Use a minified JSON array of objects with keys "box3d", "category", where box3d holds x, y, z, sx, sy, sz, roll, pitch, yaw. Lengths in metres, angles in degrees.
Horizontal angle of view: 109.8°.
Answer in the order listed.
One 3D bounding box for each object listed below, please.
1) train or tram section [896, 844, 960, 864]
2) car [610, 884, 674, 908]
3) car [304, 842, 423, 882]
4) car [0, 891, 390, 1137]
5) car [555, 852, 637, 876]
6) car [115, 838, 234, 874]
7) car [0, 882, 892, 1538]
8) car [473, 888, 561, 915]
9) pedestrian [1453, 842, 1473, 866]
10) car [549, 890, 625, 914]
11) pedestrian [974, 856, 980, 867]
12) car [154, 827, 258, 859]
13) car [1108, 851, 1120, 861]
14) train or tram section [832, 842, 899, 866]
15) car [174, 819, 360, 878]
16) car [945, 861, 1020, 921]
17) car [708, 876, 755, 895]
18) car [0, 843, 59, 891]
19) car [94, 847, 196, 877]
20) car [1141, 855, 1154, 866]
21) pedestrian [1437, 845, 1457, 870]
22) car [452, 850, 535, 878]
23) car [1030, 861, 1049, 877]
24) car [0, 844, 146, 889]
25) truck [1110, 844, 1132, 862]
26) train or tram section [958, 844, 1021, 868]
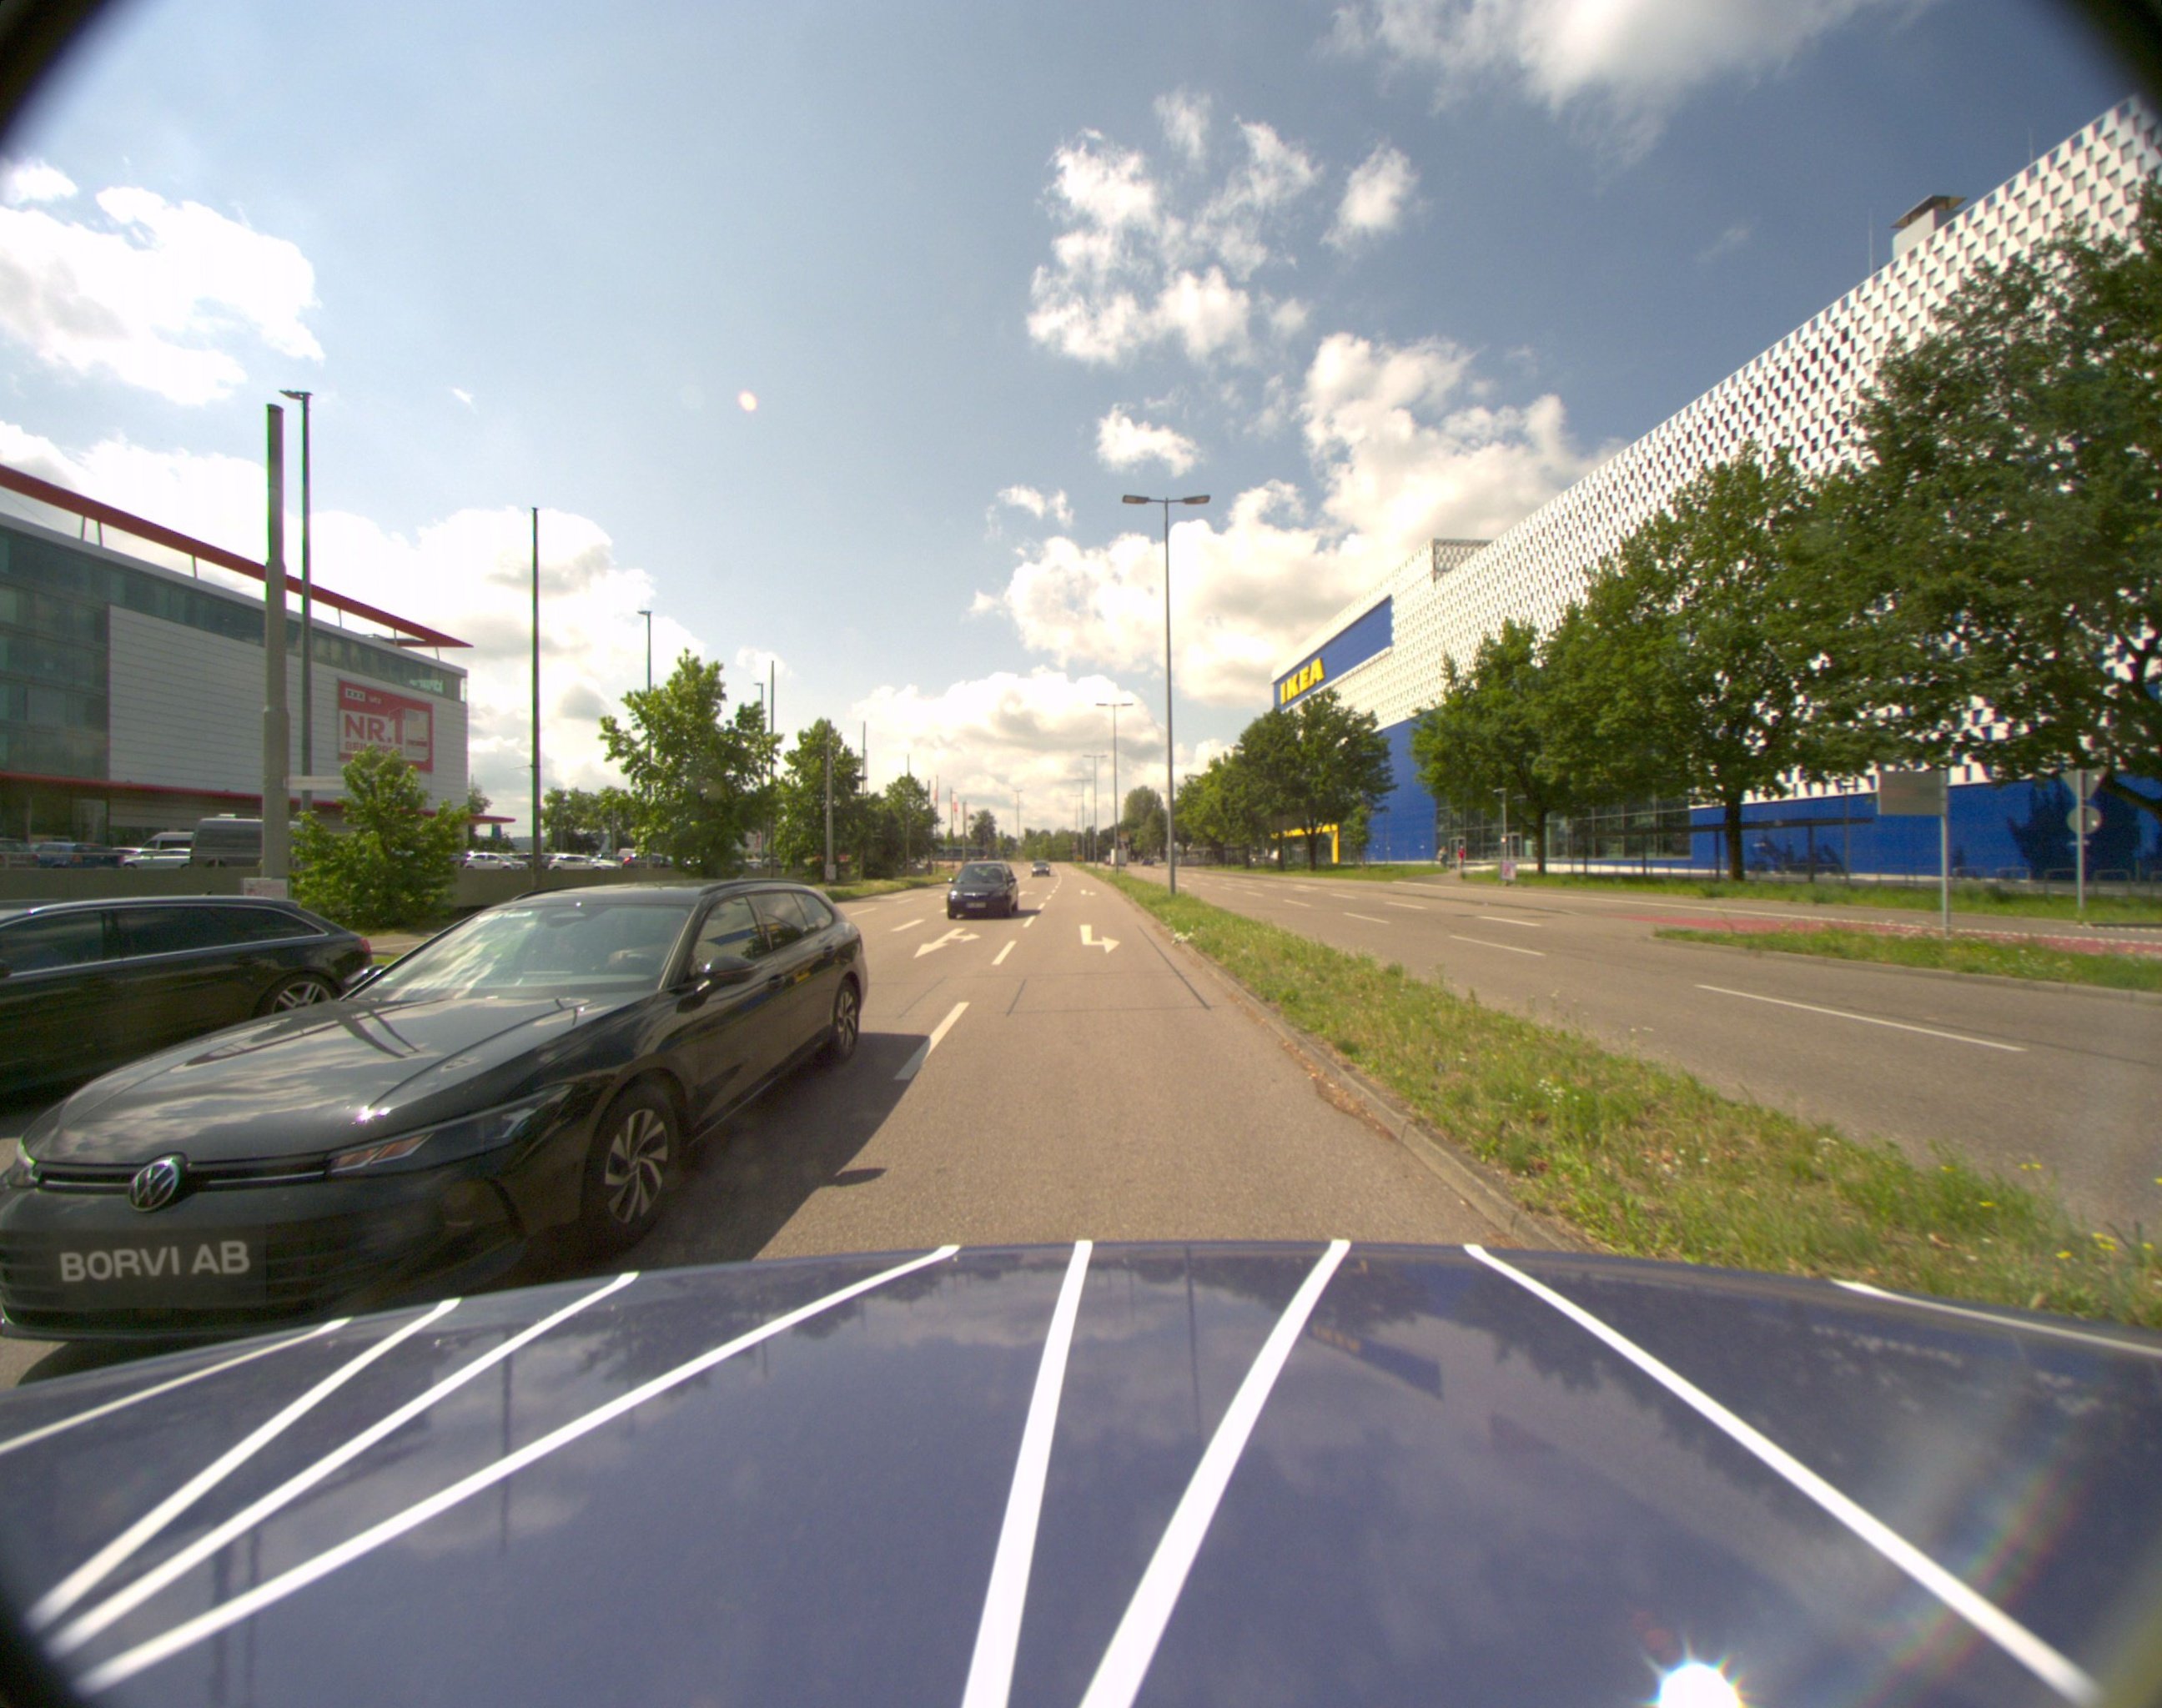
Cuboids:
[{"box3d":[-32.842,-0.034,163.827,13.099,4.346,3.731,0,1,-2],"category":"train or tram section"},{"box3d":[-37.724,3.594,65.379,4.421,1.754,1.559,-2,1,-3],"category":"car"},{"box3d":[-34.583,0.370,36.686,3.997,1.783,1.749,-2,1,1],"category":"car"},{"box3d":[-7.961,1.139,5.374,1.778,1.469,4.679,-1,0,1],"category":"car"},{"box3d":[-33.906,0.688,53.252,4.420,1.596,1.954,-1,0,-1],"category":"car"},{"box3d":[-48.891,0.081,41.049,3.997,1.740,1.916,-2,1,-1],"category":"car"},{"box3d":[-2.699,1.025,4.555,1.813,1.469,5.203,-1,0,0],"category":"car"},{"box3d":[-37.381,3.152,50.435,4.419,1.596,1.955,-1,0,2],"category":"car"},{"box3d":[27.410,-0.020,54.511,0.854,1.718,1.165,-2,1,2],"category":"pedestrian"},{"box3d":[-37.737,3.668,58.091,4.421,1.596,1.954,-1,0,-2],"category":"car"},{"box3d":[-17.110,1.177,124.681,0.705,1.803,0.544,-3,1,-27],"category":"pedestrian"},{"box3d":[-53.273,-0.670,46.305,3.997,1.740,1.916,-2,1,-1],"category":"car"},{"box3d":[5.767,0.336,132.911,1.941,1.674,3.999,-2,1,0],"category":"car"},{"box3d":[-46.141,-0.036,163.279,13.099,4.534,3.731,-2,1,-2],"category":"train or tram section"},{"box3d":[-35.075,-0.231,32.859,5.796,2.270,1.749,-2,1,-3],"category":"car"},{"box3d":[-2.685,0.967,21.599,1.606,1.521,4.269,-1,0,-1],"category":"car"},{"box3d":[-38.463,3.463,83.650,4.421,1.754,1.559,-2,1,-3],"category":"car"},{"box3d":[-38.628,0.496,26.051,4.420,1.596,1.954,-1,0,-1],"category":"car"},{"box3d":[-54.153,0.439,43.989,4.415,1.596,1.957,-1,0,14],"category":"car"},{"box3d":[11.773,1.121,134.373,1.941,1.674,3.999,-2,1,0],"category":"car"},{"box3d":[26.316,0.233,54.633,0.854,1.718,1.165,-2,1,2],"category":"pedestrian"},{"box3d":[-41.008,0.685,53.082,4.421,1.754,1.559,-2,1,-3],"category":"car"},{"box3d":[-3.964,1.425,72.585,1.606,1.521,4.269,-1,0,-1],"category":"car"},{"box3d":[-38.943,0.480,28.875,4.420,1.596,1.955,-1,0,1],"category":"car"},{"box3d":[6.370,-0.126,122.664,2.973,2.736,5.782,-2,1,-2],"category":"truck"},{"box3d":[-19.721,0.359,164.475,13.099,4.646,3.731,-2,1,-2],"category":"train or tram section"}]
